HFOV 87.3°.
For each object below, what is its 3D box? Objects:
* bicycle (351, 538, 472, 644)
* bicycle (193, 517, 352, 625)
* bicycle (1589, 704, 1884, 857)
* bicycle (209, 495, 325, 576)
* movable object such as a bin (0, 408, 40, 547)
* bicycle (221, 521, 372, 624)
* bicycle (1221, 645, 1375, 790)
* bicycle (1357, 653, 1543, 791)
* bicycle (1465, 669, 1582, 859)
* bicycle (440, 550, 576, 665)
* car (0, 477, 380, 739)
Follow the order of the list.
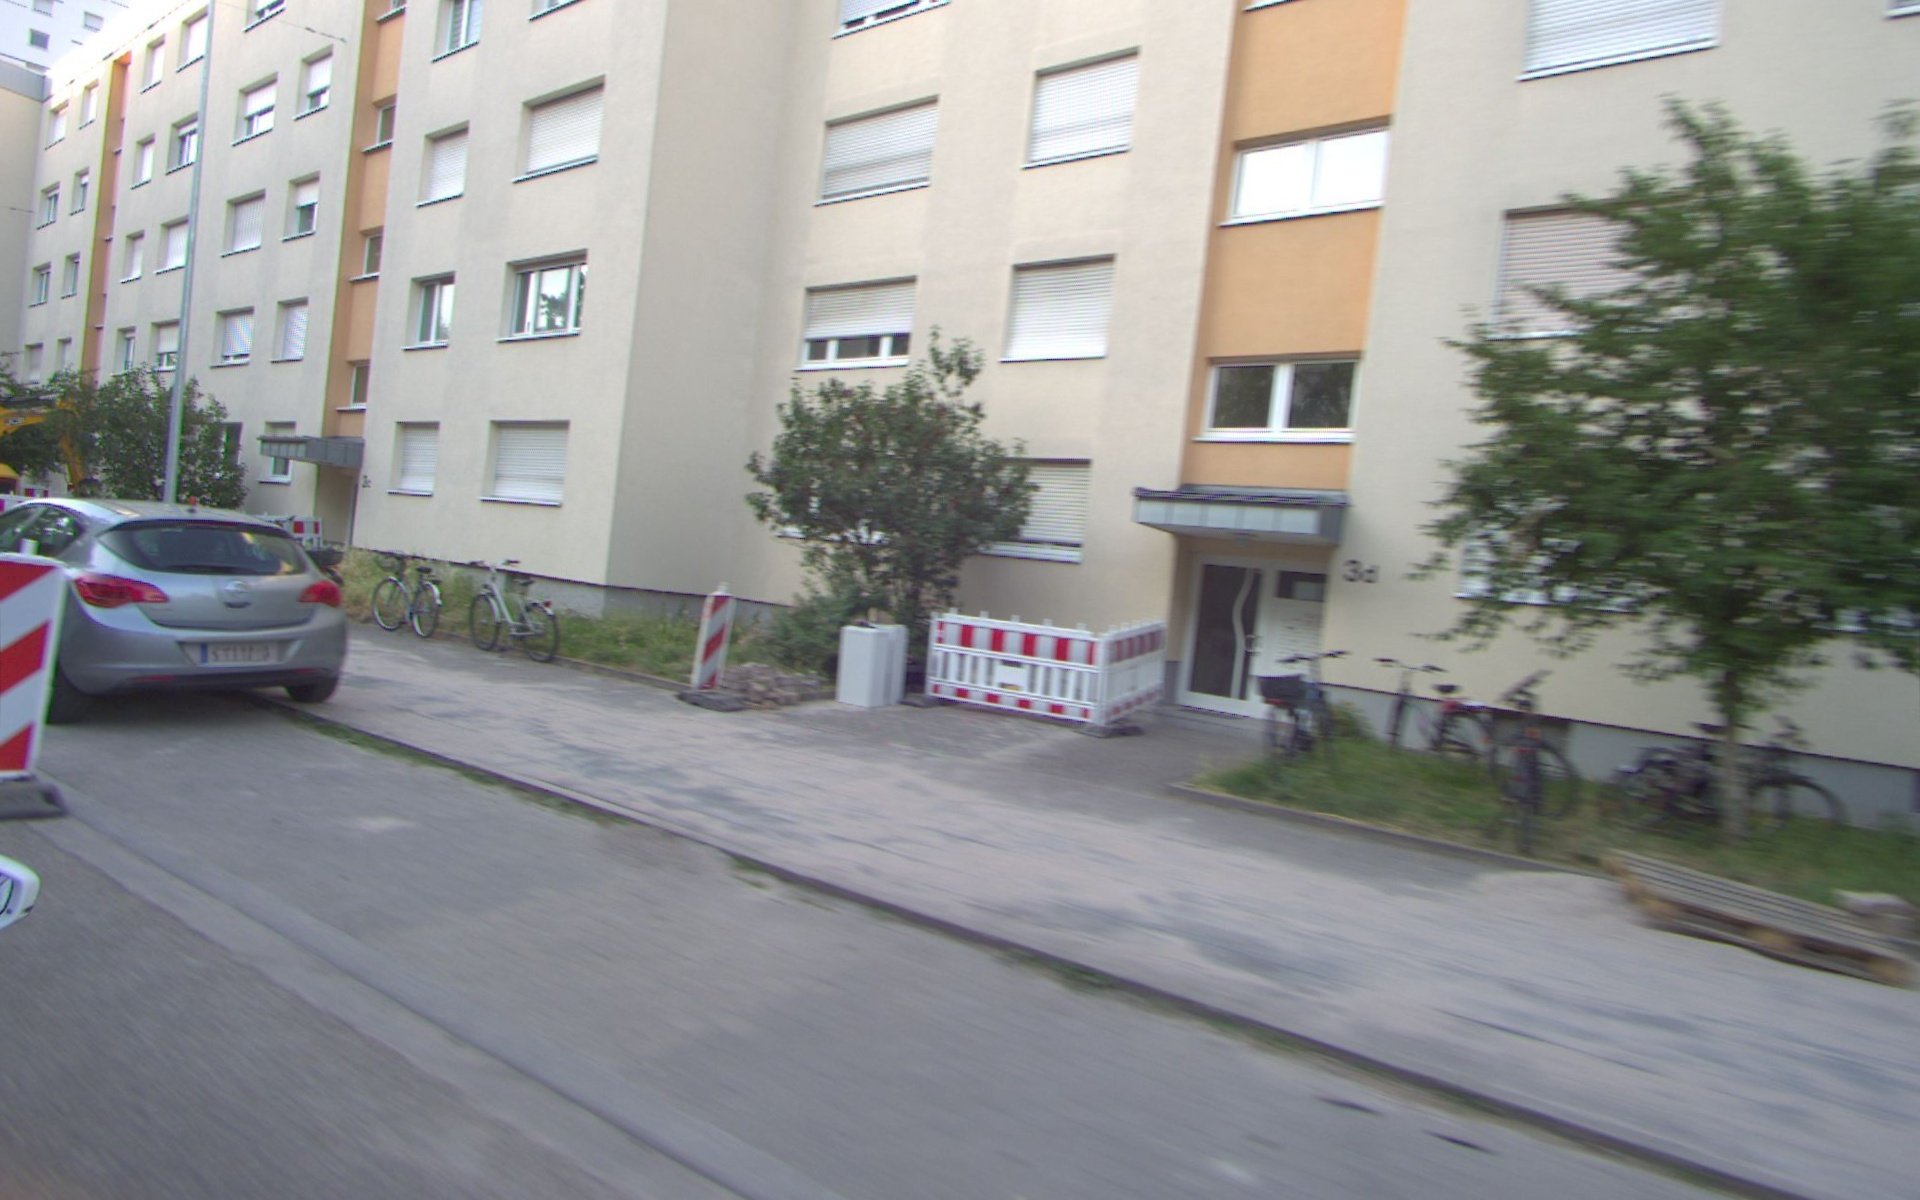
[{"bbox_3d":[-7.254,-0.130,13.270,1.788,1.186,0.556,7,1,34],"label":"bicycle"},{"bbox_3d":[-9.027,-0.375,13.215,1.782,1.186,0.558,7,1,12],"label":"bicycle"},{"bbox_3d":[5.628,1.299,7.362,1.584,0.877,0.557,4,4,4],"label":"bicycle"},{"bbox_3d":[-12.442,-1.131,18.103,0.476,1.237,1.596,7,0,25],"label":"bicycle"},{"bbox_3d":[-20.638,-2.646,20.629,2.846,2.726,1.933,7,1,36],"label":"movable object such as a bin"},{"bbox_3d":[-9.178,-0.376,13.919,1.782,1.186,0.628,7,1,15],"label":"bicycle"},{"bbox_3d":[2.917,0.944,8.587,0.550,1.001,1.747,8,5,40],"label":"bicycle"},{"bbox_3d":[4.481,1.079,9.367,0.548,0.934,1.811,3,4,-9],"label":"bicycle"},{"bbox_3d":[4.163,1.120,7.370,0.549,1.037,1.809,7,5,32],"label":"bicycle"},{"bbox_3d":[-5.528,0.076,12.252,1.788,1.186,0.556,7,1,34],"label":"bicycle"},{"bbox_3d":[-6.799,-0.129,8.075,4.497,1.512,1.775,7,4,32],"label":"car"}]
